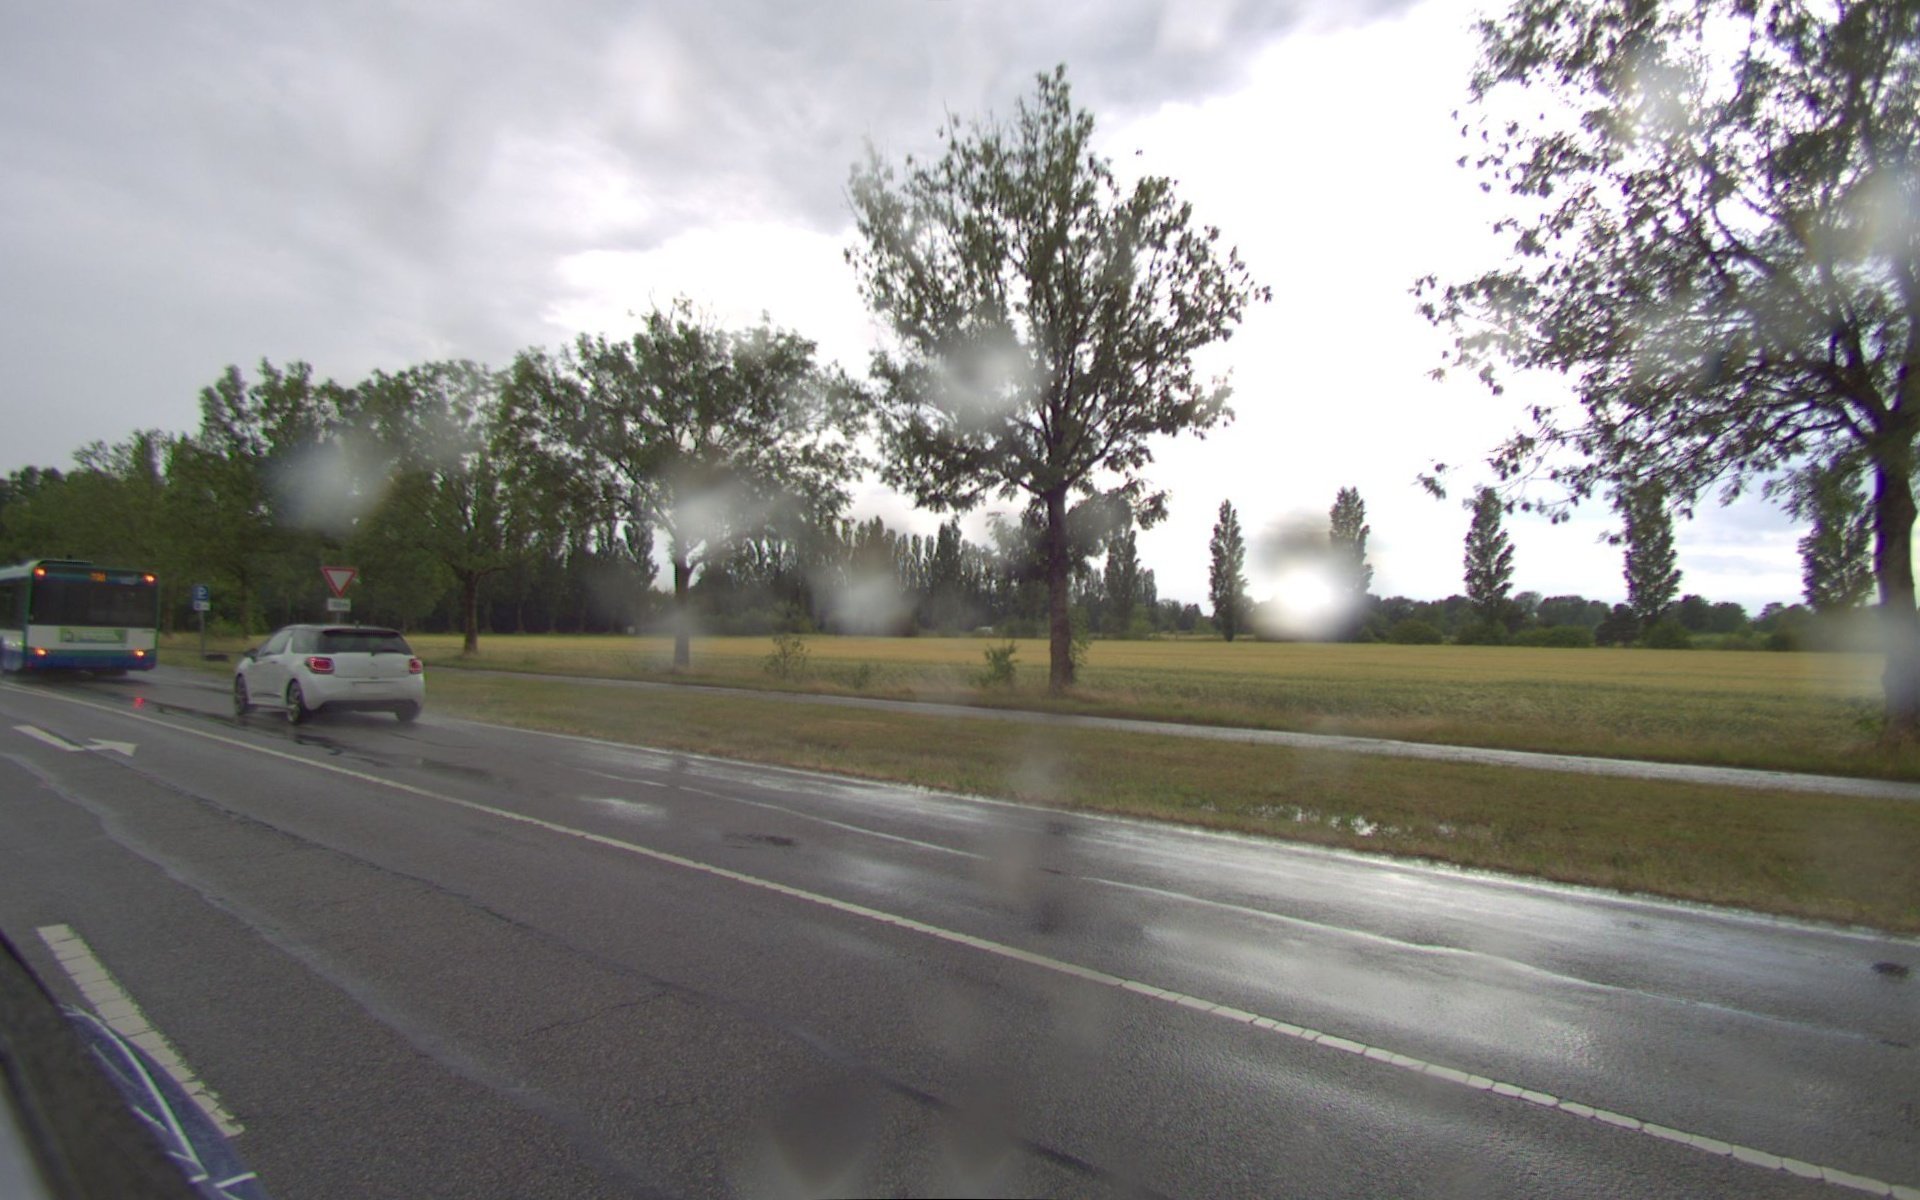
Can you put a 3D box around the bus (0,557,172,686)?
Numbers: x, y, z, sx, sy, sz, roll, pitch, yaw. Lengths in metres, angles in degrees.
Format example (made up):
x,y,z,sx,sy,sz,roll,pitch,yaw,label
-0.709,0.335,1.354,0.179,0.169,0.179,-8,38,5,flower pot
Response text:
x,y,z,sx,sy,sz,roll,pitch,yaw,label
-25.434,0.595,28.131,12.464,2.934,2.921,-1,-3,40,bus

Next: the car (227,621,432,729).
x,y,z,sx,sy,sz,roll,pitch,yaw,label
-9.699,1.086,15.490,3.459,1.461,1.651,-1,-4,41,car
